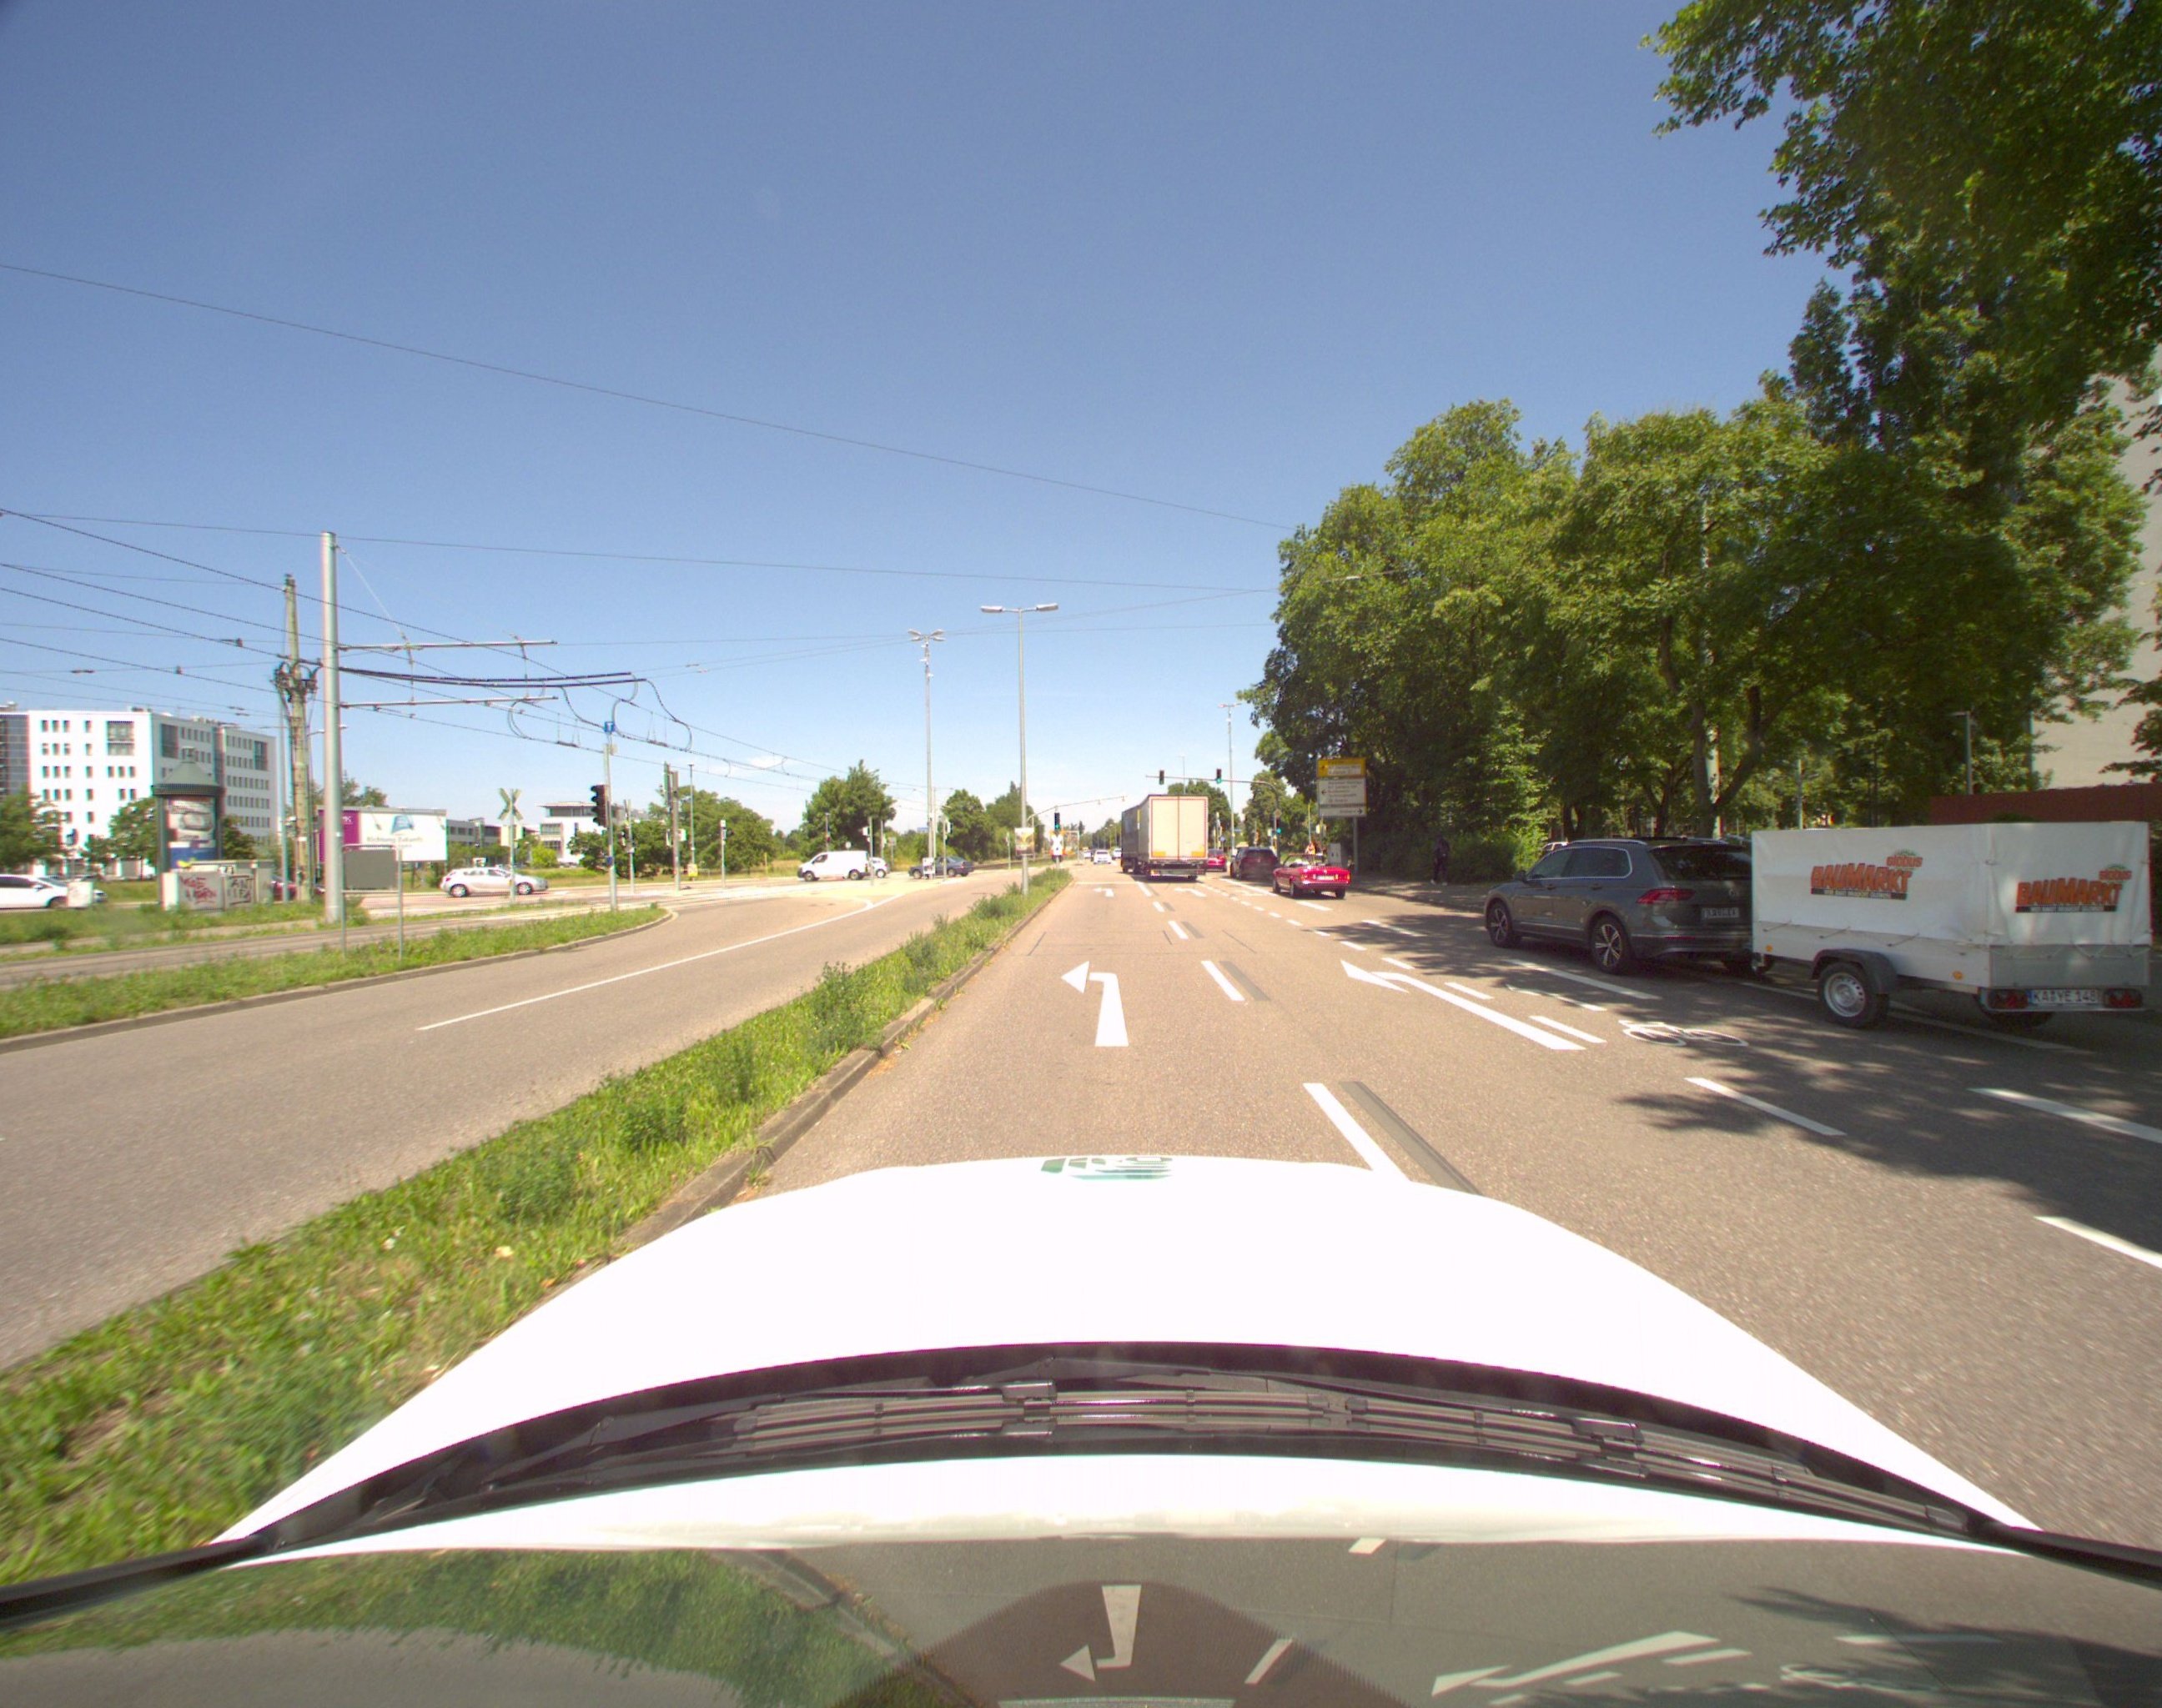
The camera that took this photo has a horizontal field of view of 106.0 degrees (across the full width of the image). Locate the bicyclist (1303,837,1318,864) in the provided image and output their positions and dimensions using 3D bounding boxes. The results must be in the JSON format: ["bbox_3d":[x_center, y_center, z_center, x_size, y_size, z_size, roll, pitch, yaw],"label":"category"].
[{"bbox_3d":[15.002,-0.215,53.163,0.796,1.727,0.681,-4,-1,12],"label":"bicyclist"}]

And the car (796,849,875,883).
[{"bbox_3d":[-16.584,0.781,55.189,4.723,2.111,1.997,-1,1,-5],"label":"car"}]

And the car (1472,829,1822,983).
[{"bbox_3d":[7.106,0.535,10.910,1.694,1.654,4.399,0,1,1],"label":"car"}]

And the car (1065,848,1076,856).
[{"bbox_3d":[-1.902,-0.423,144.960,1.852,1.372,4.156,0,1,1],"label":"car"}]

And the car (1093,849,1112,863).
[{"bbox_3d":[2.226,0.179,85.394,1.852,1.372,4.156,0,1,1],"label":"car"}]

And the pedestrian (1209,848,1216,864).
[{"bbox_3d":[16.213,0.254,100.469,0.739,2.013,0.614,0,0,2],"label":"pedestrian"}]

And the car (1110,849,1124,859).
[{"bbox_3d":[5.121,-0.011,115.799,1.852,1.372,4.156,0,1,1],"label":"car"}]

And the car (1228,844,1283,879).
[{"bbox_3d":[8.235,0.318,38.792,1.852,1.549,3.887,0,0,1],"label":"car"}]

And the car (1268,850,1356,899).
[{"bbox_3d":[7.226,0.587,25.912,1.649,1.396,4.267,0,1,1],"label":"car"}]

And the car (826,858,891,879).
[{"bbox_3d":[-16.266,1.030,59.491,4.429,1.371,1.887,-1,1,-19],"label":"car"}]

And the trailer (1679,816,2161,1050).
[{"bbox_3d":[7.084,0.552,7.251,1.464,1.669,2.856,0,0,0],"label":"trailer"}]

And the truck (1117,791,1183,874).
[{"bbox_3d":[3.814,-1.215,47.259,2.820,4.344,8.278,1,1,-2],"label":"truck"}]

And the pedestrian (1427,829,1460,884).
[{"bbox_3d":[12.423,0.081,27.932,0.750,1.815,0.693,-2,0,0],"label":"pedestrian"}]

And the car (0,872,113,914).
[{"bbox_3d":[-46.824,1.740,36.116,4.552,1.638,1.981,-2,1,-30],"label":"car"}]

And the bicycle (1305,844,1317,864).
[{"bbox_3d":[15.024,-0.010,53.223,0.640,1.304,1.631,-4,0,13],"label":"bicycle"}]

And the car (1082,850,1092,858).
[{"bbox_3d":[1.044,-0.087,144.087,1.852,1.372,4.156,0,1,1],"label":"car"}]

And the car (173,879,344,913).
[{"bbox_3d":[-37.094,1.854,36.991,5.266,1.132,1.877,-2,1,-40],"label":"car"}]

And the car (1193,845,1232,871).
[{"bbox_3d":[8.347,0.222,52.166,1.985,1.503,4.507,-1,1,3],"label":"car"}]

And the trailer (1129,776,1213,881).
[{"bbox_3d":[4.064,-1.105,38.705,2.819,4.421,8.744,0,0,-2],"label":"trailer"}]

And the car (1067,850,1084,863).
[{"bbox_3d":[-0.586,0.266,94.520,1.852,1.372,4.156,0,1,1],"label":"car"}]

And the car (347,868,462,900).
[{"bbox_3d":[-35.007,1.515,42.306,4.293,1.412,1.881,-2,1,-29],"label":"car"}]

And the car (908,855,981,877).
[{"bbox_3d":[-9.015,0.782,53.830,4.379,1.371,1.908,-1,1,19],"label":"car"}]

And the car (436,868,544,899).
[{"bbox_3d":[-30.207,1.473,41.823,4.295,1.293,1.980,-2,1,-31],"label":"car"}]
